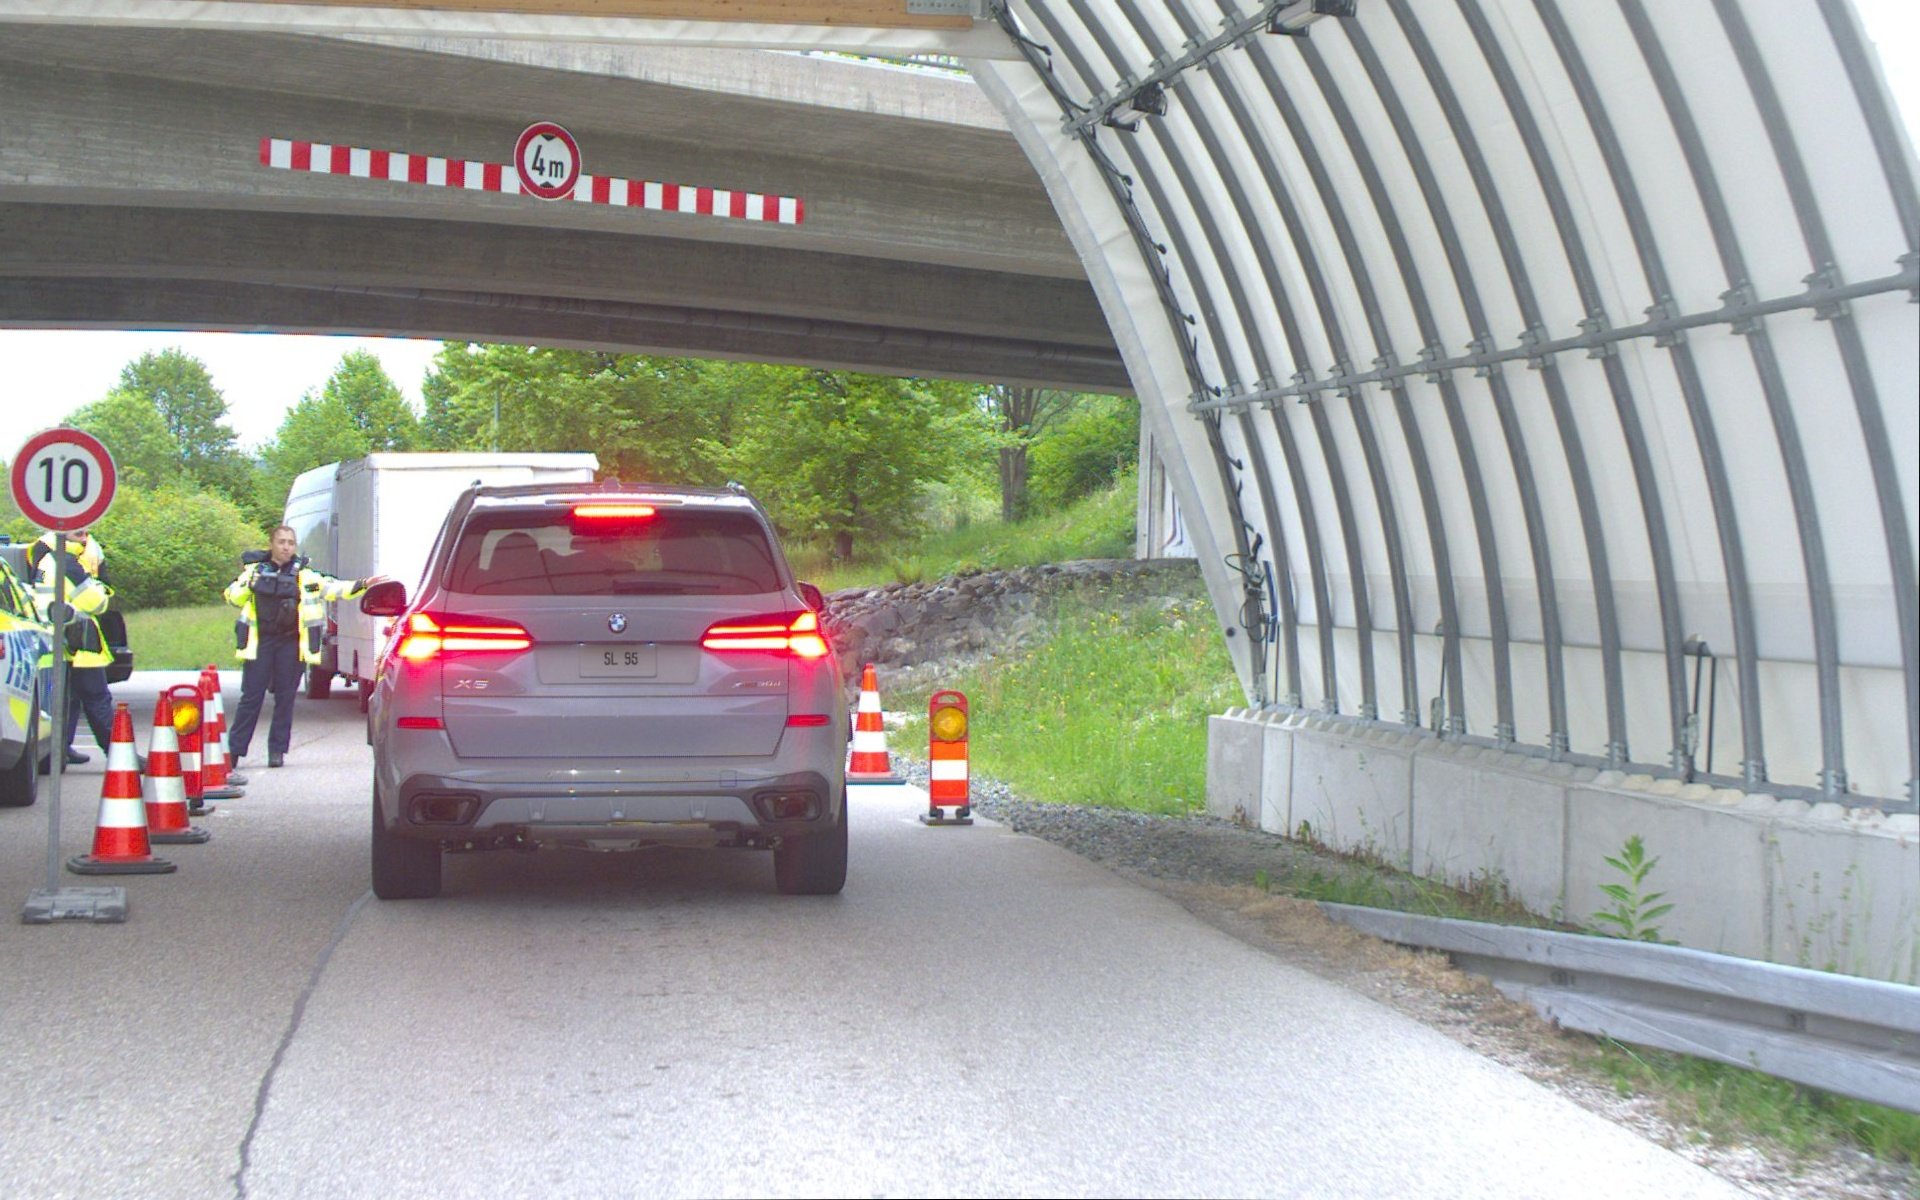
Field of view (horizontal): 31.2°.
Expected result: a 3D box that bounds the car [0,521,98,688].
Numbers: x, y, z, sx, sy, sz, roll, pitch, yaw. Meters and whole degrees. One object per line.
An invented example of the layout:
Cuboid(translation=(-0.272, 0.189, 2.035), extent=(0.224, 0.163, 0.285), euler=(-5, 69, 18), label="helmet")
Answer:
Cuboid(translation=(-13.370, 0.051, 42.733), extent=(4.807, 2.007, 1.840), euler=(0, 1, 9), label="car")

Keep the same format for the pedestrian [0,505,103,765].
Cuboid(translation=(-6.252, 0.231, 23.571), extent=(0.609, 1.748, 0.666), euler=(-1, 1, -4), label="pedestrian")

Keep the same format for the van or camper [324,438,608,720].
Cuboid(translation=(-5.091, -0.234, 34.577), extent=(2.229, 2.543, 6.613), euler=(-1, 1, -13), label="van or camper")

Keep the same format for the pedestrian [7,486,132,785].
Cuboid(translation=(-5.816, 0.223, 22.494), extent=(0.749, 1.912, 0.763), euler=(-1, 1, -13), label="pedestrian")

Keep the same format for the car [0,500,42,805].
Cuboid(translation=(-6.464, 0.273, 20.278), extent=(1.877, 1.641, 4.001), euler=(-1, 1, -13), label="car")

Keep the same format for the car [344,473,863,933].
Cuboid(translation=(-1.647, 0.367, 15.379), extent=(1.993, 1.759, 4.001), euler=(-1, 1, -8), label="car")

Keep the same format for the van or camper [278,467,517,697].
Cuboid(translation=(-6.703, -0.237, 40.465), extent=(2.103, 2.510, 5.553), euler=(0, 1, -16), label="van or camper")

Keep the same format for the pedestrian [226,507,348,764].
Cuboid(translation=(-4.599, 0.234, 23.491), extent=(0.779, 1.716, 0.757), euler=(-1, 1, -11), label="pedestrian")
